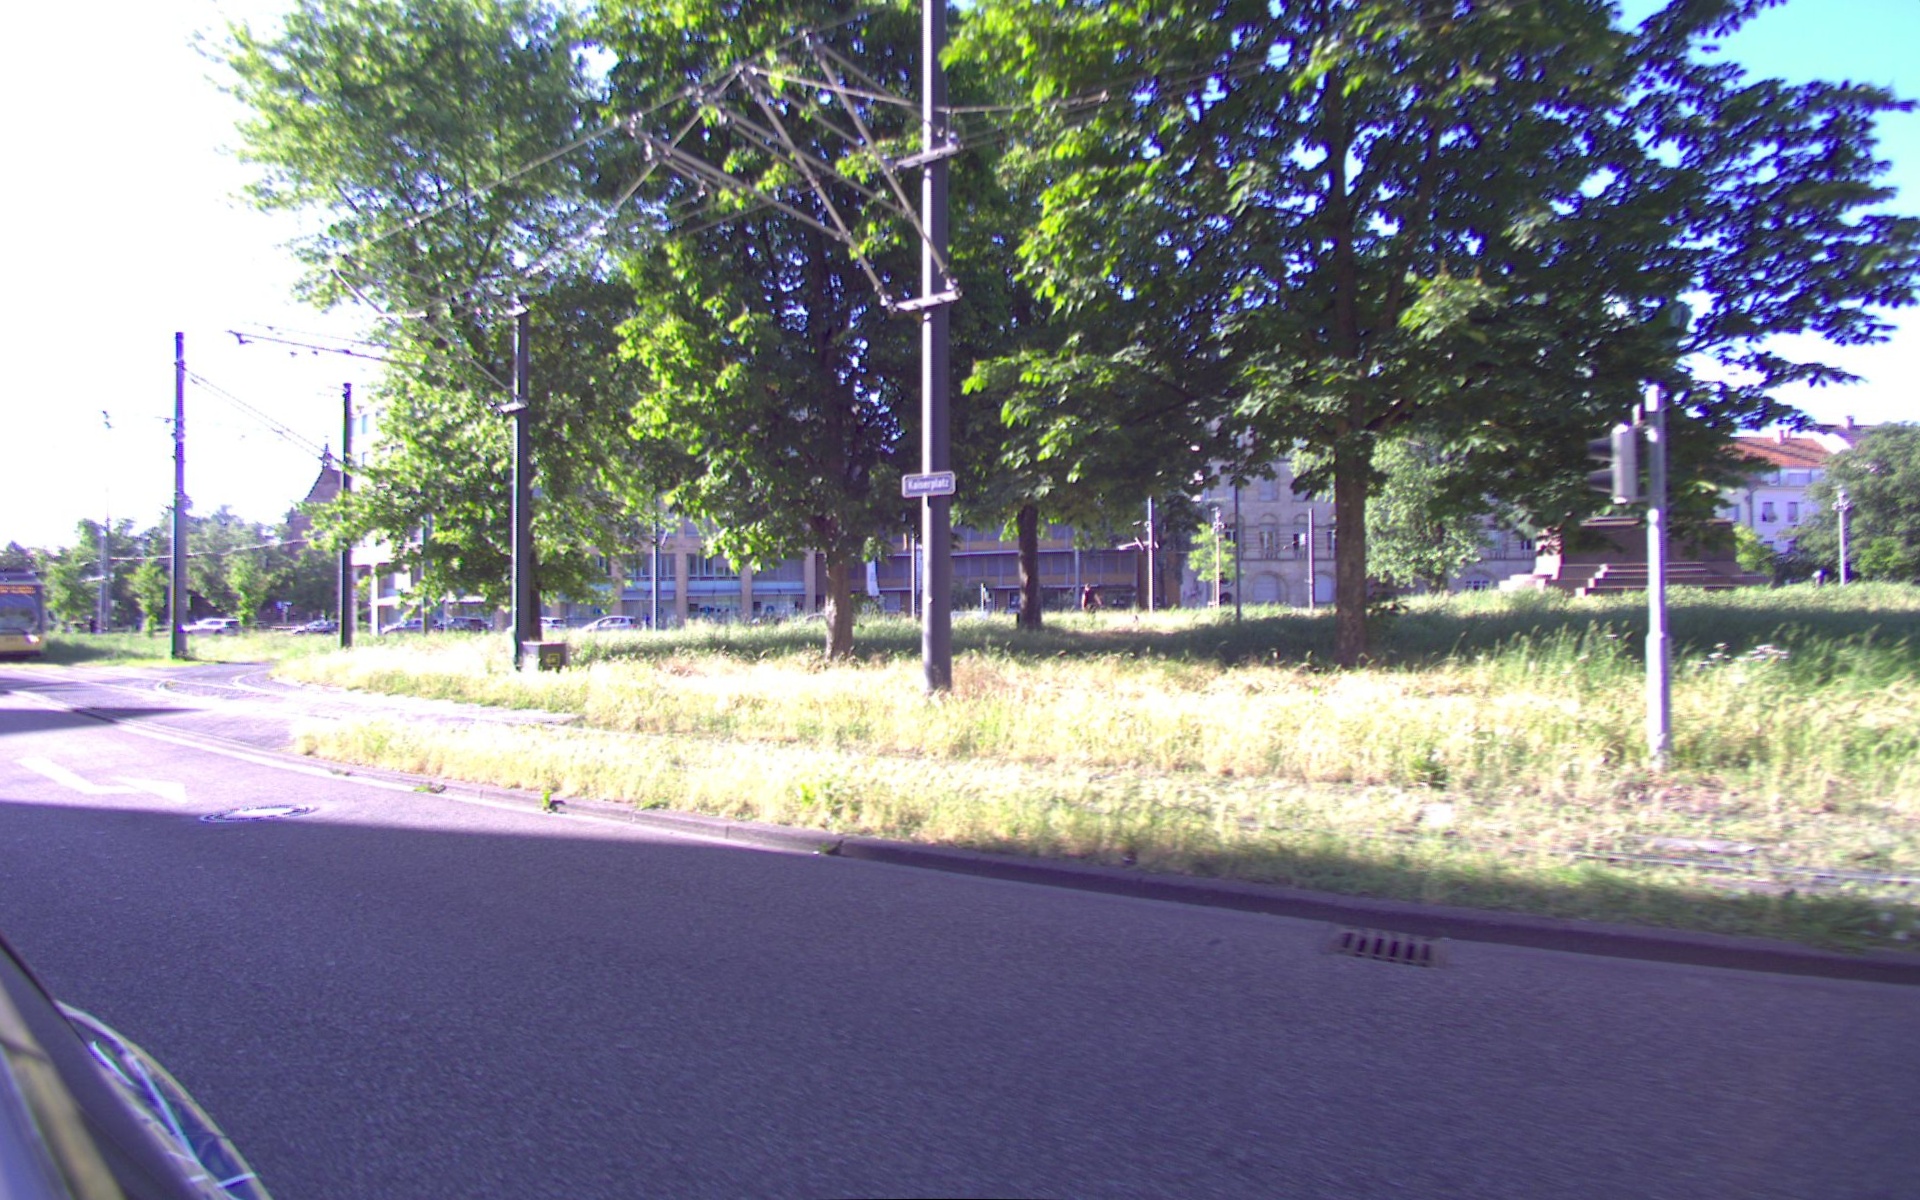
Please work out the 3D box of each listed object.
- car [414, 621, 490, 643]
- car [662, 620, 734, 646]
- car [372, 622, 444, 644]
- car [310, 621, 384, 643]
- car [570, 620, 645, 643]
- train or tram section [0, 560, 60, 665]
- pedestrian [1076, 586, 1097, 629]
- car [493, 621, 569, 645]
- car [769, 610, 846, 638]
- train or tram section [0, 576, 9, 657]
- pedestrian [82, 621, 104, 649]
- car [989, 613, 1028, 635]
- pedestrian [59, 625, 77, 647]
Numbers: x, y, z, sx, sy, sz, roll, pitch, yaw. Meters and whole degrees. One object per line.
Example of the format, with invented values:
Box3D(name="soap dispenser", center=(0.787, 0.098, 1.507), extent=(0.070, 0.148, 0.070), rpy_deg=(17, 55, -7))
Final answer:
Box3D(name="car", center=(-36.757, 2.293, 73.219), extent=(4.977, 1.458, 1.989), rpy_deg=(-1, 1, 18))
Box3D(name="car", center=(-17.659, 2.228, 68.195), extent=(4.236, 1.524, 1.994), rpy_deg=(2, 0, 10))
Box3D(name="car", center=(-45.527, 2.714, 83.498), extent=(5.161, 1.680, 2.115), rpy_deg=(-1, 1, 15))
Box3D(name="car", center=(-45.459, 2.393, 75.082), extent=(4.616, 1.528, 1.992), rpy_deg=(-1, 1, 14))
Box3D(name="car", center=(-24.349, 2.160, 69.948), extent=(4.461, 1.438, 1.994), rpy_deg=(-1, 1, 10))
Box3D(name="train or tram section", center=(-38.846, 0.601, 40.110), extent=(13.173, 3.713, 2.919), rpy_deg=(-2, -1, 40))
Box3D(name="pedestrian", center=(4.818, 0.287, 38.558), extent=(0.546, 1.628, 0.677), rpy_deg=(-1, 1, -13))
Box3D(name="car", center=(-30.229, 2.307, 71.324), extent=(4.610, 1.608, 1.992), rpy_deg=(-1, 1, 13))
Box3D(name="car", center=(-10.249, 1.622, 68.162), extent=(4.709, 1.364, 1.997), rpy_deg=(6, 1, 5))
Box3D(name="train or tram section", center=(-48.885, 0.896, 48.739), extent=(13.624, 3.640, 2.919), rpy_deg=(-2, -1, 40))
Box3D(name="pedestrian", center=(-52.349, 2.123, 61.094), extent=(0.740, 1.683, 0.730), rpy_deg=(-1, -1, 23))
Box3D(name="car", center=(3.890, 1.872, 81.282), extent=(1.966, 1.593, 4.011), rpy_deg=(-1, 1, -15))
Box3D(name="pedestrian", center=(-85.249, 3.433, 96.691), extent=(0.917, 2.029, 0.875), rpy_deg=(-1, 1, 16))
